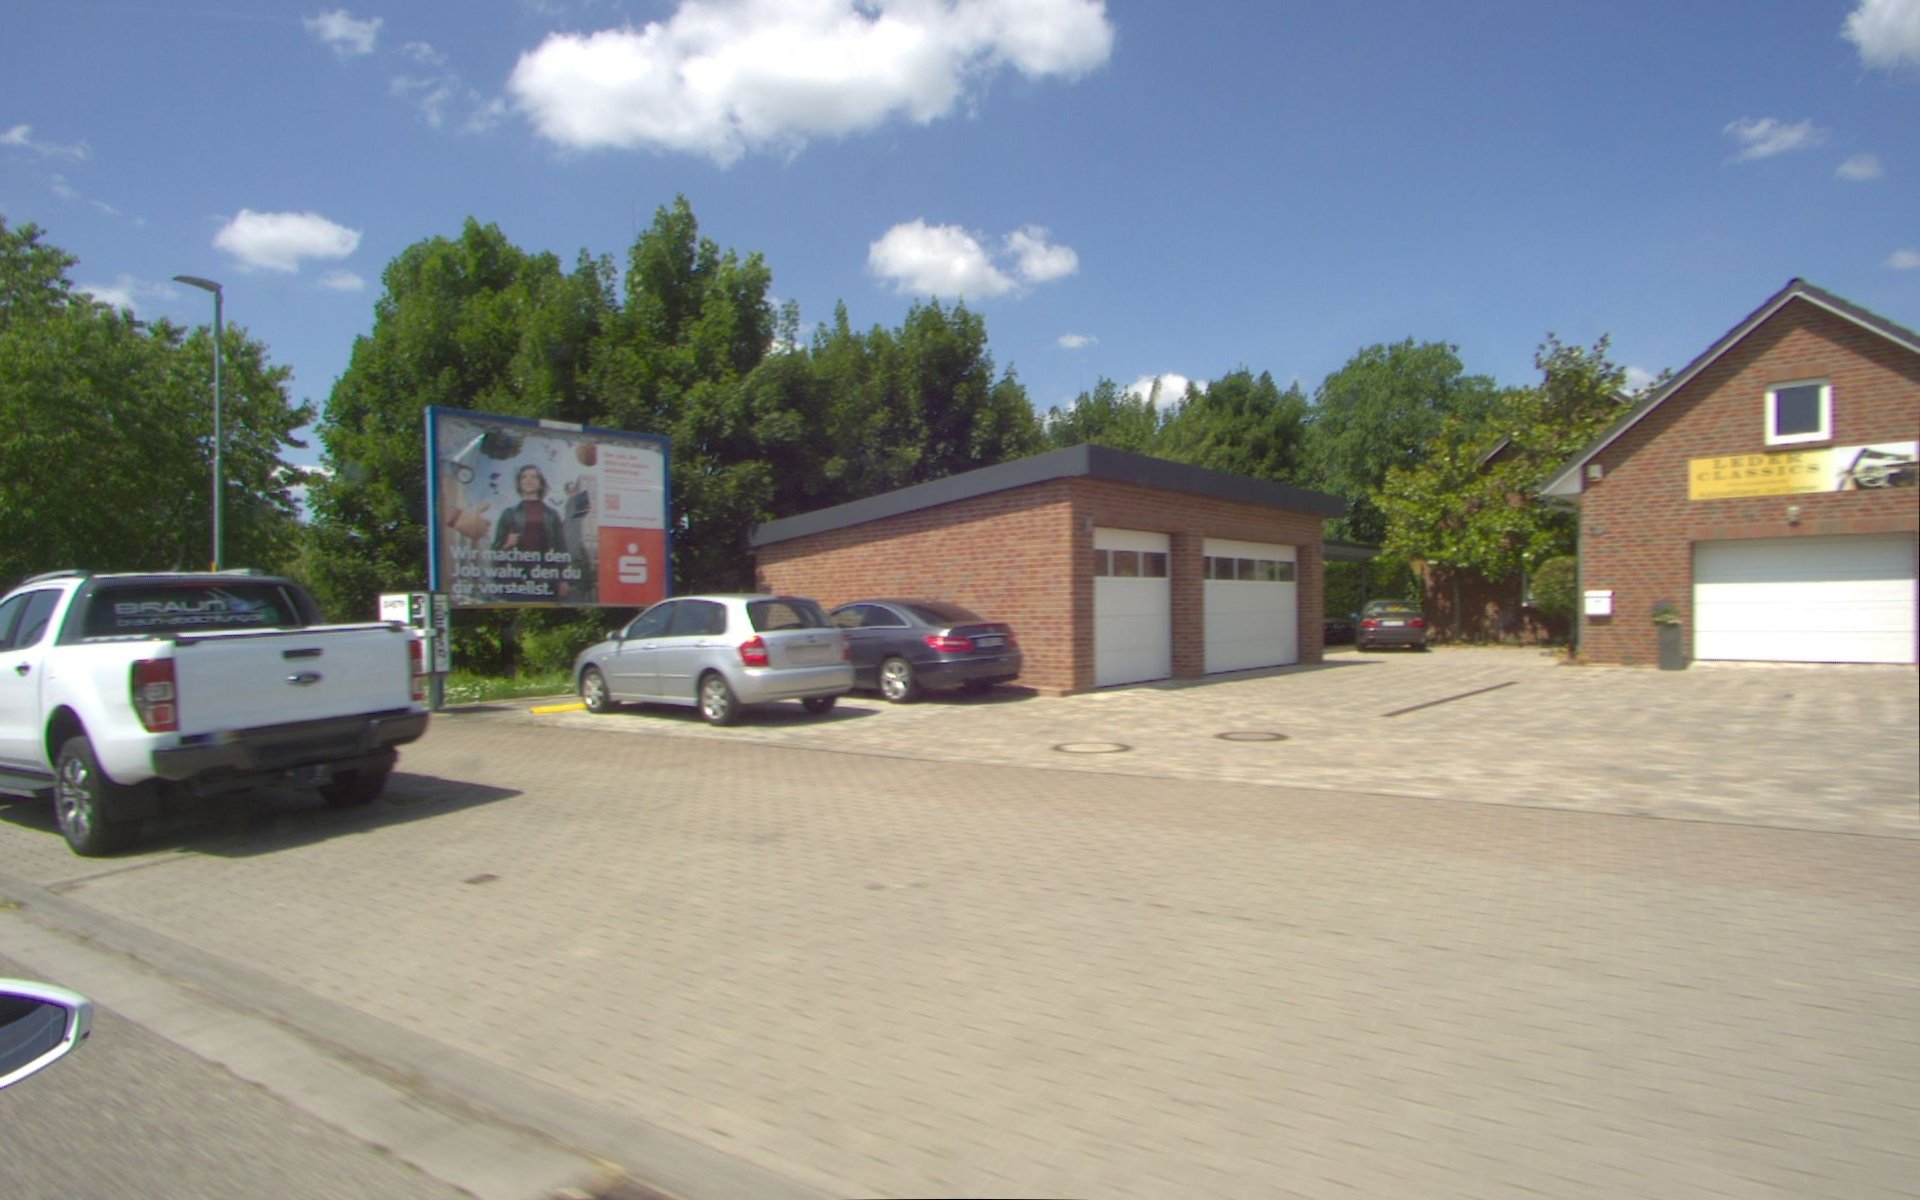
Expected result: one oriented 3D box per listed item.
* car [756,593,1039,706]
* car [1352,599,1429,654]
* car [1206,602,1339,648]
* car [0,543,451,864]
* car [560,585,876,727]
[{"bbox_3d":[-0.980,0.637,14.360,3.953,1.394,1.738,-1,0,40],"label":"car"},{"bbox_3d":[11.562,0.680,27.085,1.615,1.353,3.810,-1,0,19],"label":"car"},{"bbox_3d":[9.625,0.770,30.852,3.755,1.353,1.639,-1,0,24],"label":"car"},{"bbox_3d":[-6.480,0.619,7.952,5.347,1.839,1.843,-1,1,32],"label":"car"},{"bbox_3d":[-3.116,0.616,12.537,3.953,1.499,1.897,-1,0,40],"label":"car"}]
